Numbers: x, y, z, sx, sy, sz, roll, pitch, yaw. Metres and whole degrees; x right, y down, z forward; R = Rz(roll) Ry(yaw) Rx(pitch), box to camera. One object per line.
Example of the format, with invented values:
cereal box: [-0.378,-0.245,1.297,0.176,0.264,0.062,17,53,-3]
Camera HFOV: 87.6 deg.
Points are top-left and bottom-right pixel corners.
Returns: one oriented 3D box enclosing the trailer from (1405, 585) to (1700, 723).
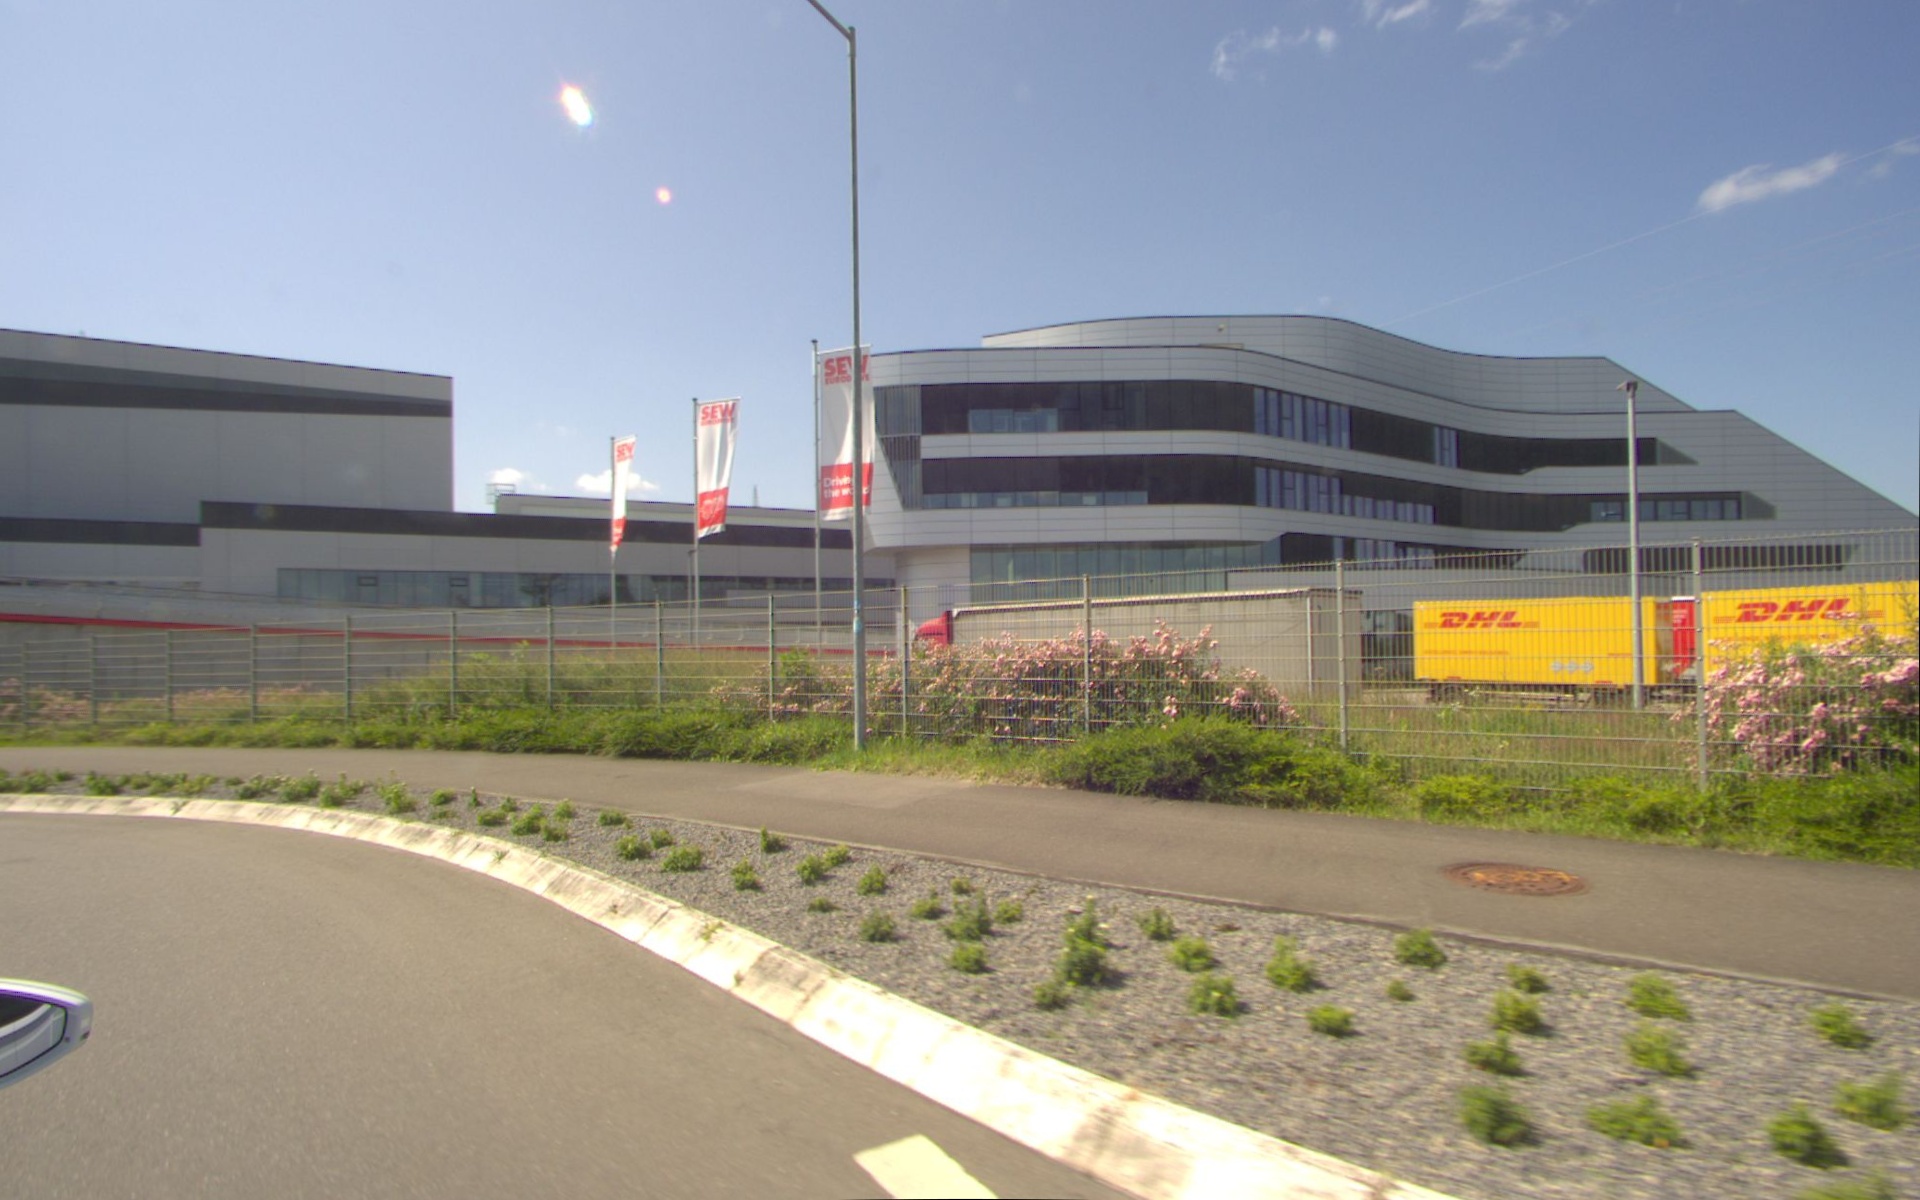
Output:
trailer: [20.908,1.830,35.877,2.872,4.352,8.634,-1,-1,-43]

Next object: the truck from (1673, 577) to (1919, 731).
truck: [27.246,1.496,28.584,2.790,4.227,10.886,-1,-1,-39]

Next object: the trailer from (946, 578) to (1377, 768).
trailer: [5.078,1.913,29.967,2.735,4.495,13.946,-1,-1,-40]

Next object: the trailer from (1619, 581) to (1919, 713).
trailer: [29.972,1.653,37.227,2.994,4.352,8.646,-1,-1,-39]

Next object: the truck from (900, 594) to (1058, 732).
truck: [0.582,2.106,35.313,2.736,4.480,5.246,-1,-1,-40]
